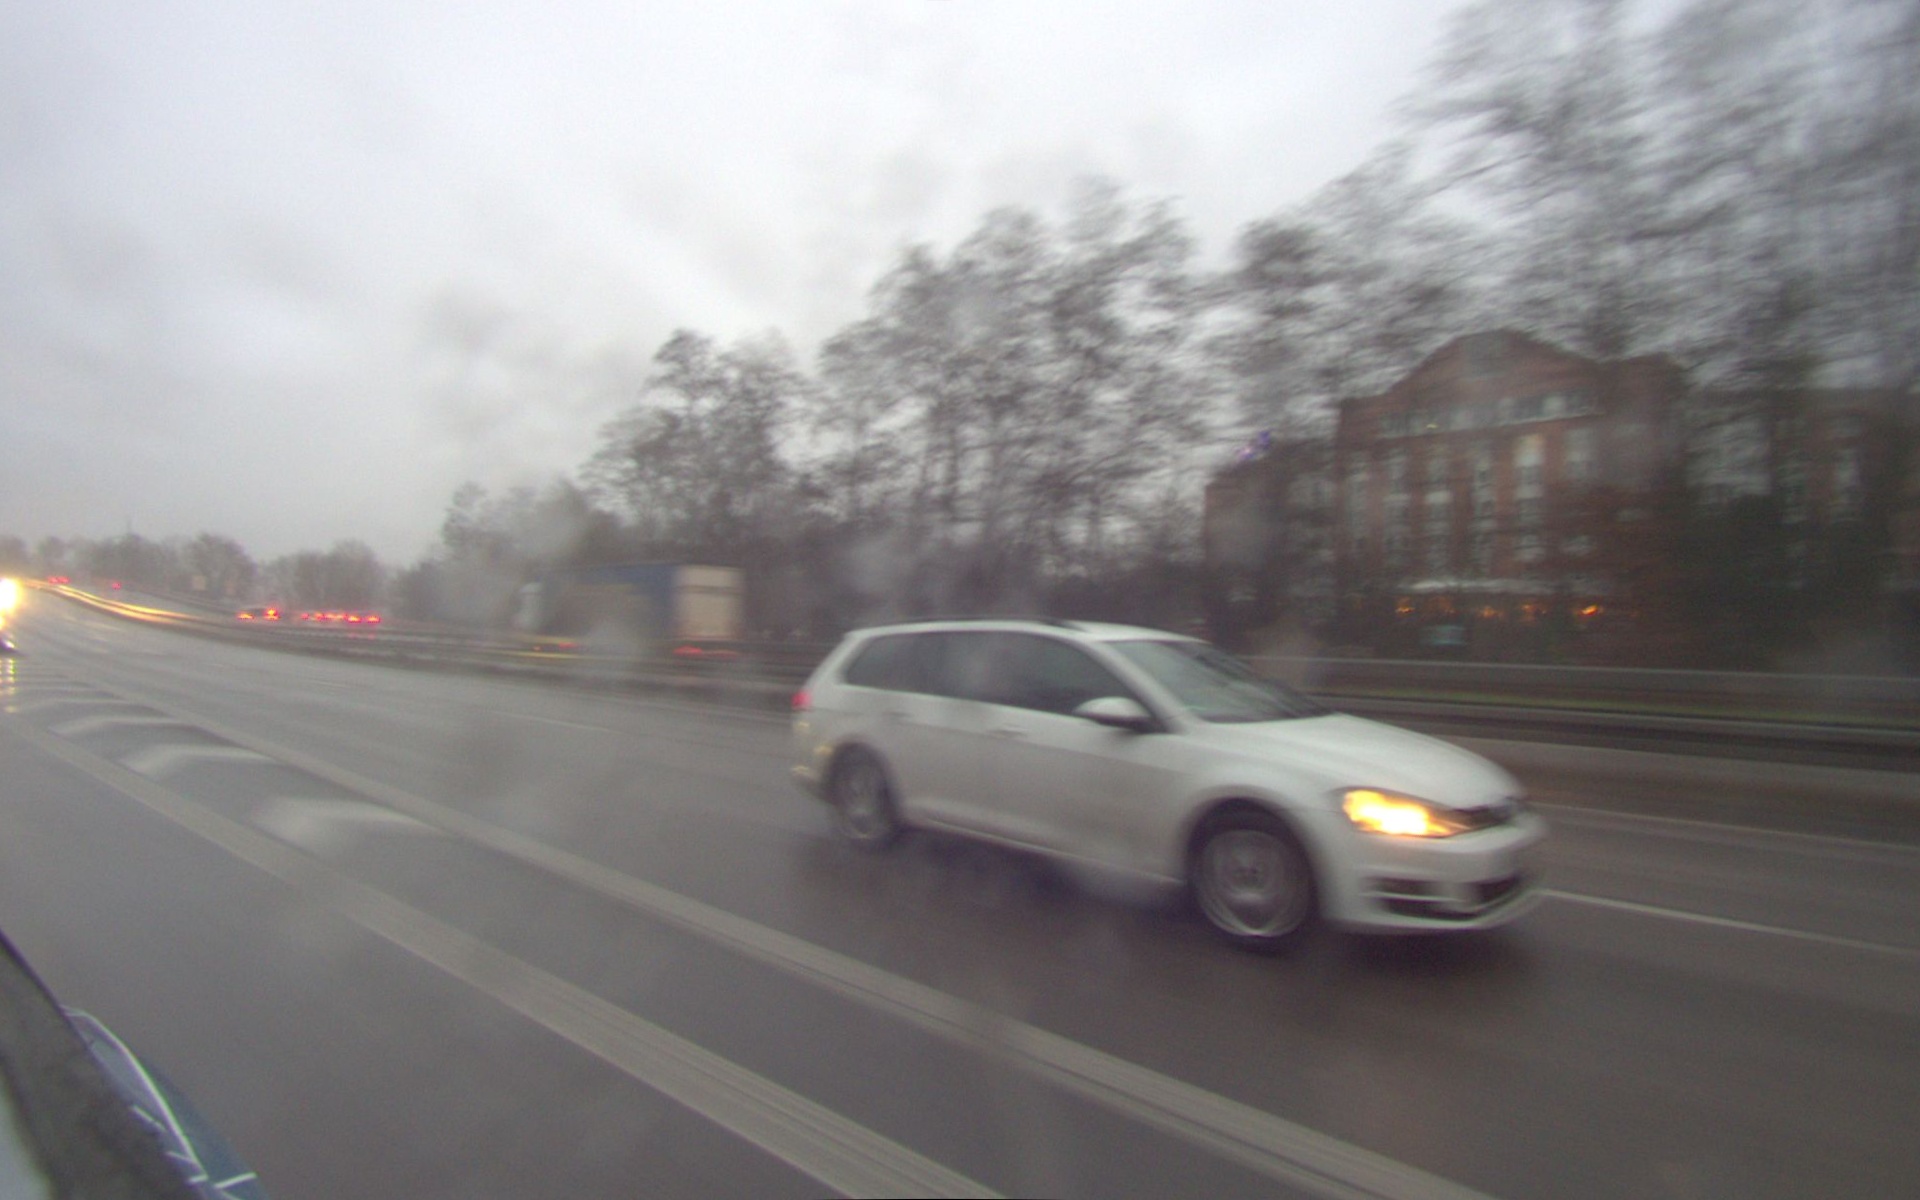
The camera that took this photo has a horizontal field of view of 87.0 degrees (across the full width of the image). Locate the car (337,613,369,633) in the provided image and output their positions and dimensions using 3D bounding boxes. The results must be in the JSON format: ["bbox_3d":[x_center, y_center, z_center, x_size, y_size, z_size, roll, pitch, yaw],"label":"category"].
[{"bbox_3d":[-50.172,1.879,83.667,1.441,1.576,3.653,1,-1,-44],"label":"car"}]

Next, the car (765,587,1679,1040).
[{"bbox_3d":[1.049,0.787,5.831,1.925,1.532,4.790,2,-3,-45],"label":"car"}]

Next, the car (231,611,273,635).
[{"bbox_3d":[-48.135,1.523,68.790,1.681,1.576,4.044,0,0,-44],"label":"car"}]

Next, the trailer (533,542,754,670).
[{"bbox_3d":[-14.362,0.254,44.719,3.450,4.884,13.488,-1,0,-45],"label":"trailer"}]

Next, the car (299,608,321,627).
[{"bbox_3d":[-73.110,1.936,113.846,1.886,2.029,4.010,-1,0,-35],"label":"car"}]

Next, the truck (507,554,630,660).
[{"bbox_3d":[-19.349,0.319,49.844,3.450,4.884,6.034,-1,0,-45],"label":"truck"}]

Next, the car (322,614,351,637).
[{"bbox_3d":[-60.058,2.420,97.419,1.967,2.029,4.009,-1,0,-37],"label":"car"}]
